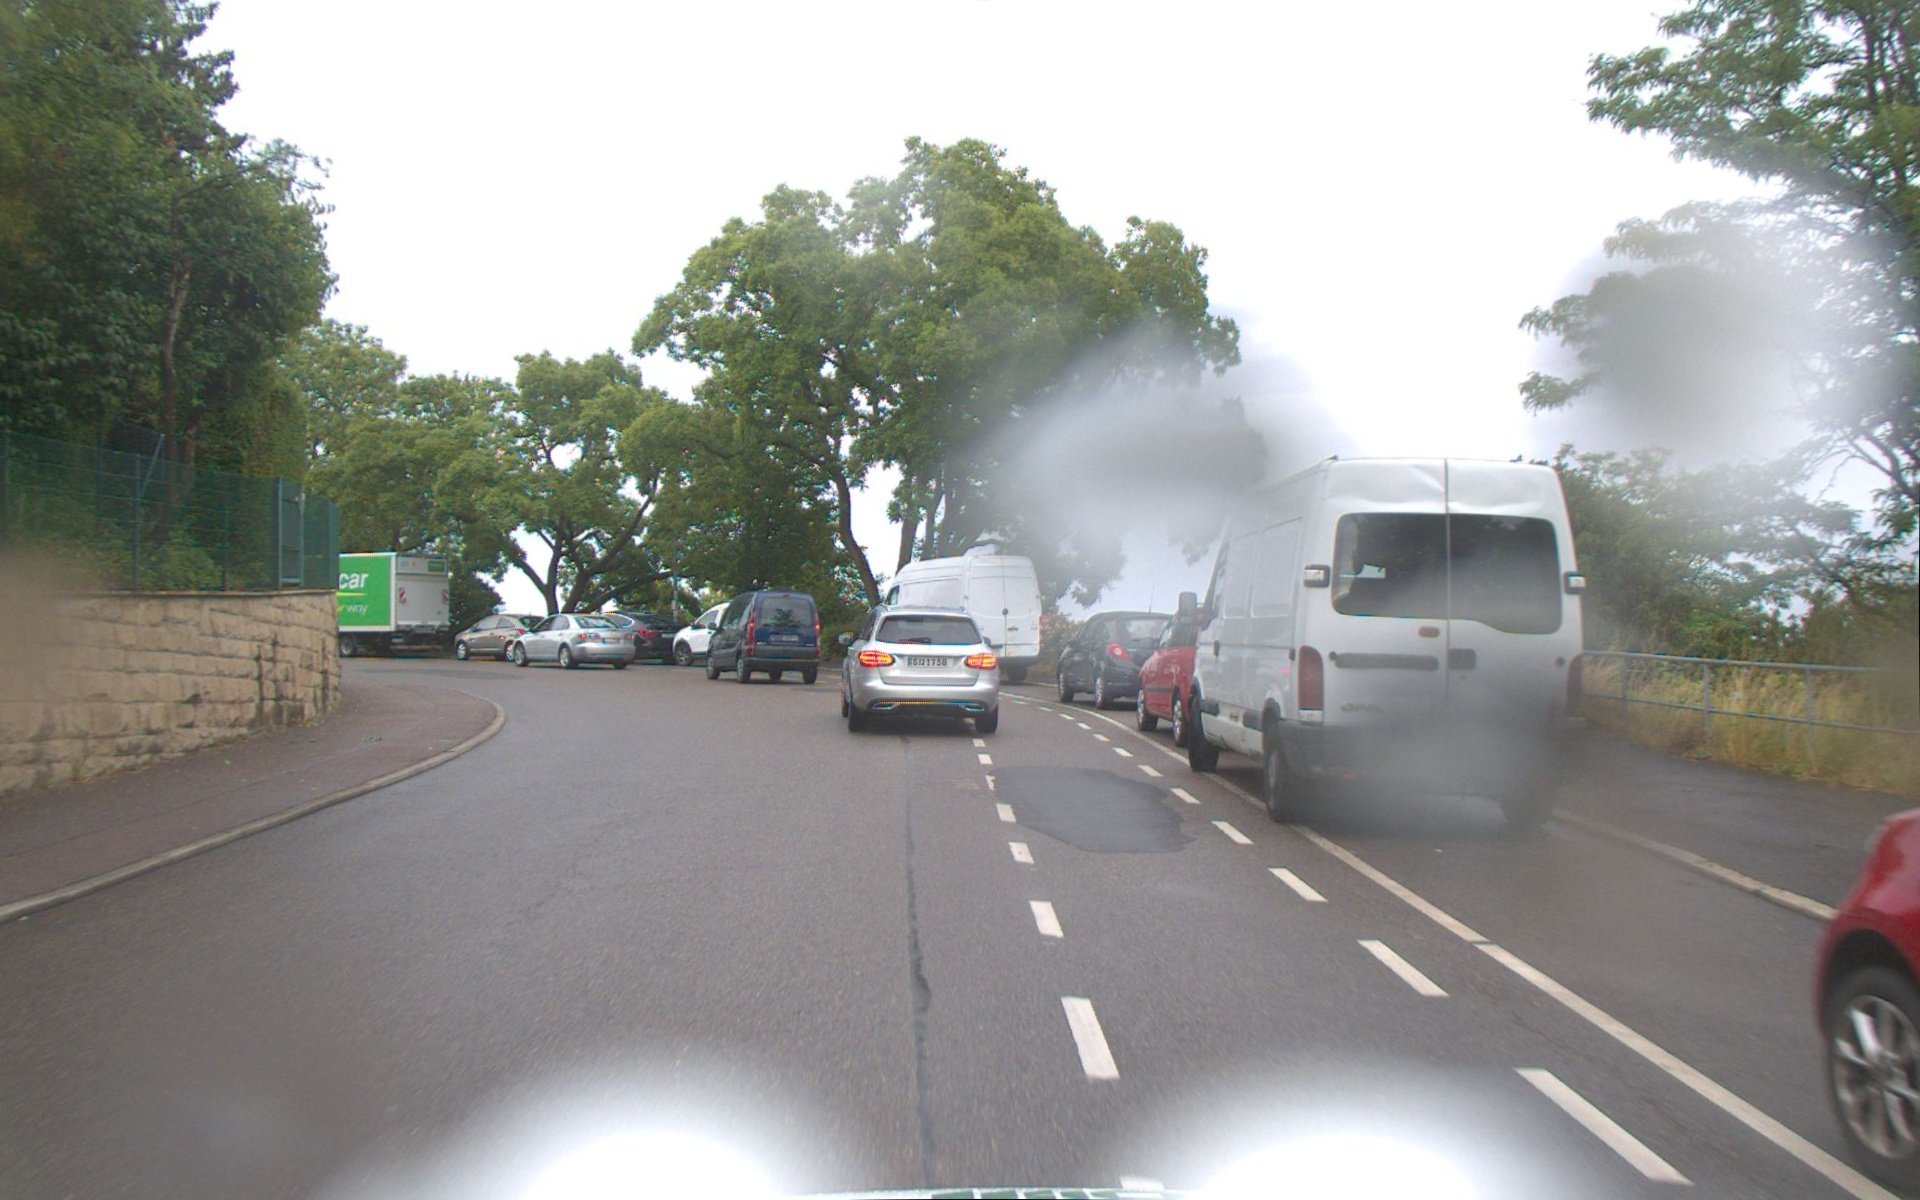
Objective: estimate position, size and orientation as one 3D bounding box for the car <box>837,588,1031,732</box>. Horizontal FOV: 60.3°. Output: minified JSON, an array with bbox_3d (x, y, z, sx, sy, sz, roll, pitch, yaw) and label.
[{"bbox_3d":[-0.433,0.725,20.469,1.945,1.581,4.290,1,-2,-7],"label":"car"}]

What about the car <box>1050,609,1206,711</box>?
[{"bbox_3d":[2.592,0.896,26.371,1.663,1.469,3.941,0,0,-7],"label":"car"}]

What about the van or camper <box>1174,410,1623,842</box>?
[{"bbox_3d":[3.148,0.155,13.282,2.031,2.708,5.595,1,0,-1],"label":"van or camper"}]

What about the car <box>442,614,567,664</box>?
[{"bbox_3d":[-14.716,1.229,53.370,4.052,1.529,1.733,-1,0,36],"label":"car"}]

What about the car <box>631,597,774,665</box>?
[{"bbox_3d":[-7.340,0.855,46.937,4.347,1.853,1.741,-1,0,44],"label":"car"}]

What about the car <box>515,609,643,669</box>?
[{"bbox_3d":[-10.105,0.980,43.707,1.840,1.484,4.041,0,0,-37],"label":"car"}]

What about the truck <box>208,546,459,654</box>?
[{"bbox_3d":[-21.767,0.006,57.355,8.726,3.531,2.781,0,-1,25],"label":"truck"}]

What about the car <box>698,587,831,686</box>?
[{"bbox_3d":[-4.151,0.716,34.631,1.798,1.915,4.068,0,0,-21],"label":"car"}]

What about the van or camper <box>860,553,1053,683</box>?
[{"bbox_3d":[-0.206,0.361,36.585,2.040,2.626,5.842,0,0,-24],"label":"van or camper"}]

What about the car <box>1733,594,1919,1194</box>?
[{"bbox_3d":[3.359,0.781,3.438,1.648,1.567,3.832,1,0,-1],"label":"car"}]

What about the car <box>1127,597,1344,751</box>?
[{"bbox_3d":[3.049,0.756,19.128,1.588,1.567,4.212,0,0,-3],"label":"car"}]
